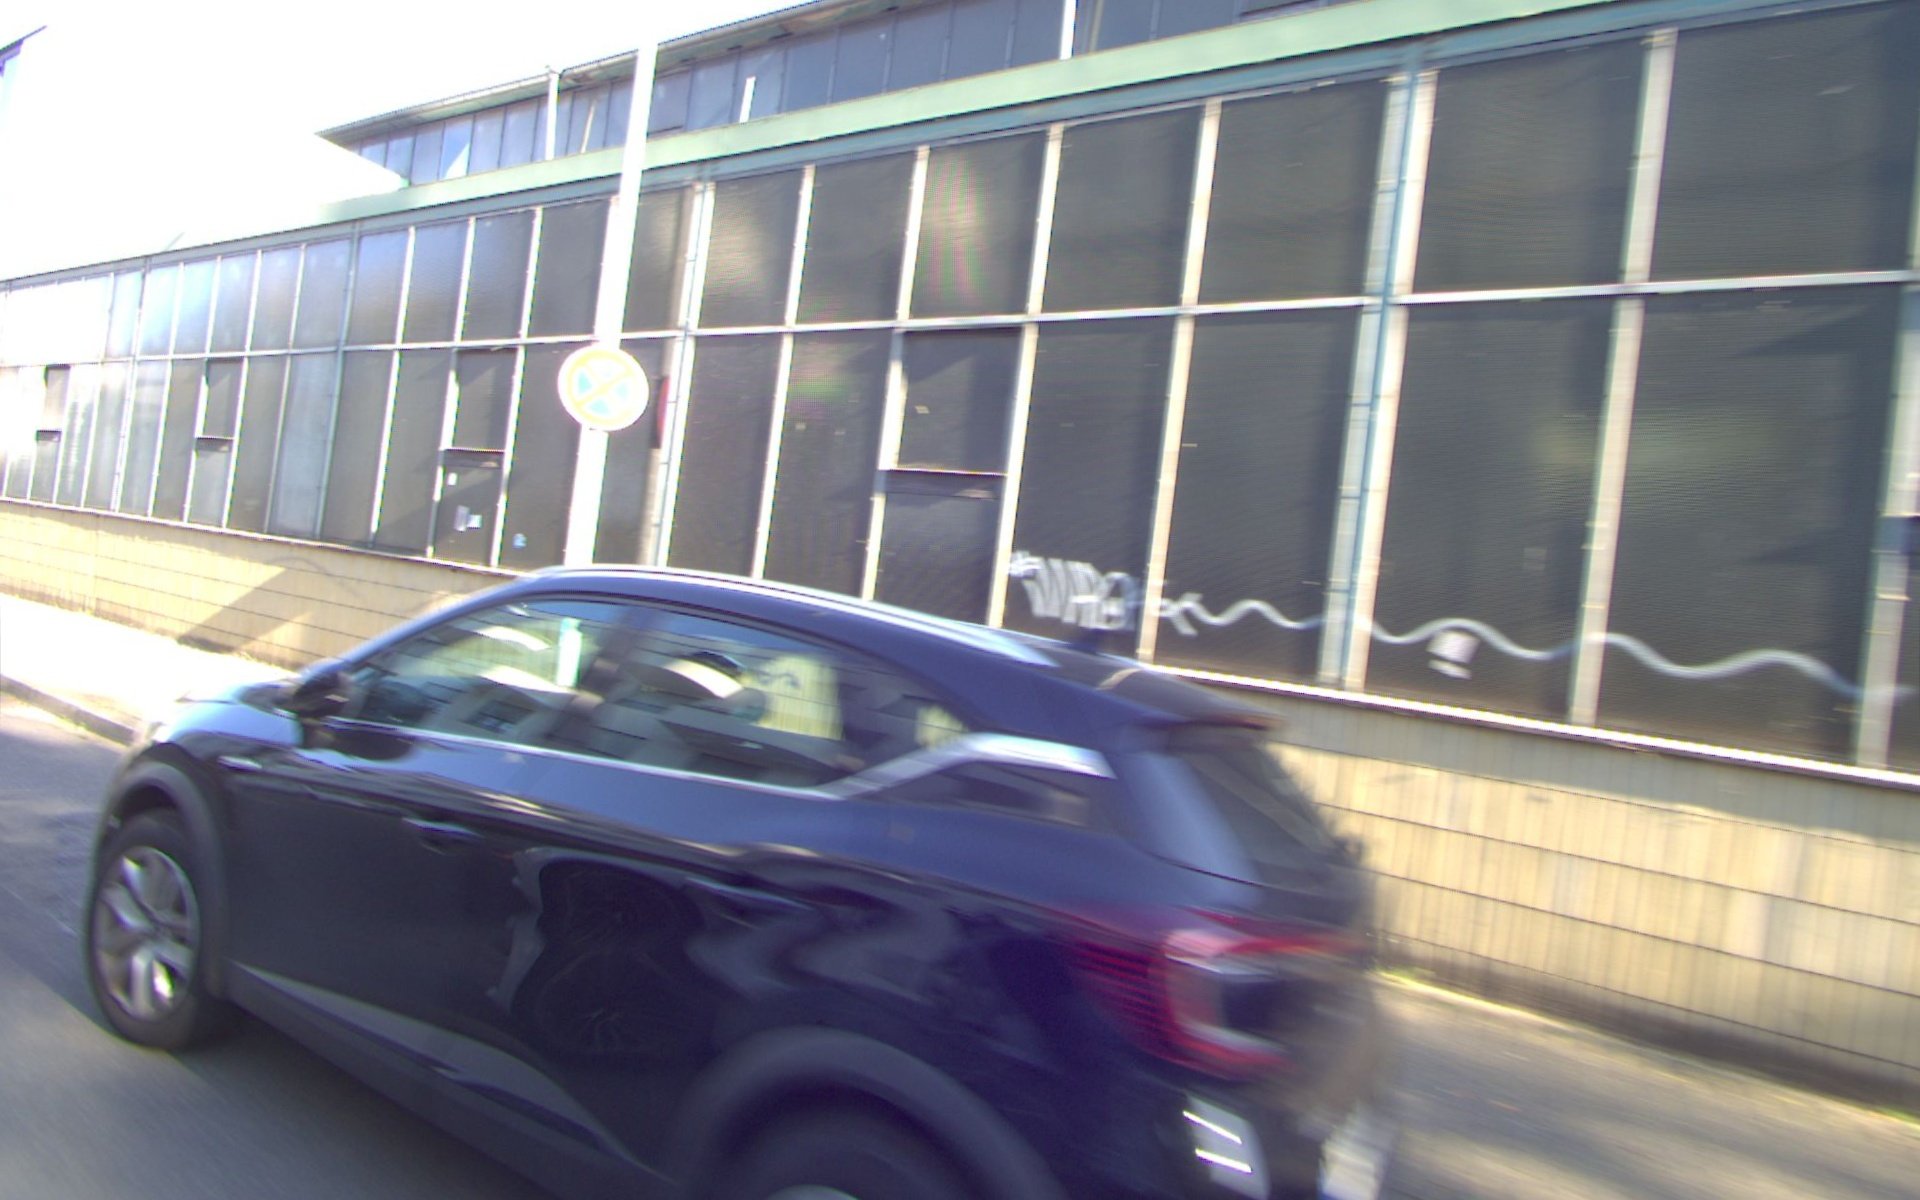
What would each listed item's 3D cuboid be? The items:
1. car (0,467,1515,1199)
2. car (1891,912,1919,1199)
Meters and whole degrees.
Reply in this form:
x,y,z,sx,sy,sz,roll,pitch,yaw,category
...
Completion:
x,y,z,sx,sy,sz,roll,pitch,yaw,category
-0.865,0.670,3.064,4.330,1.604,1.813,6,-4,30,car
3.555,1.276,0.281,4.545,1.507,1.755,6,-4,32,car
